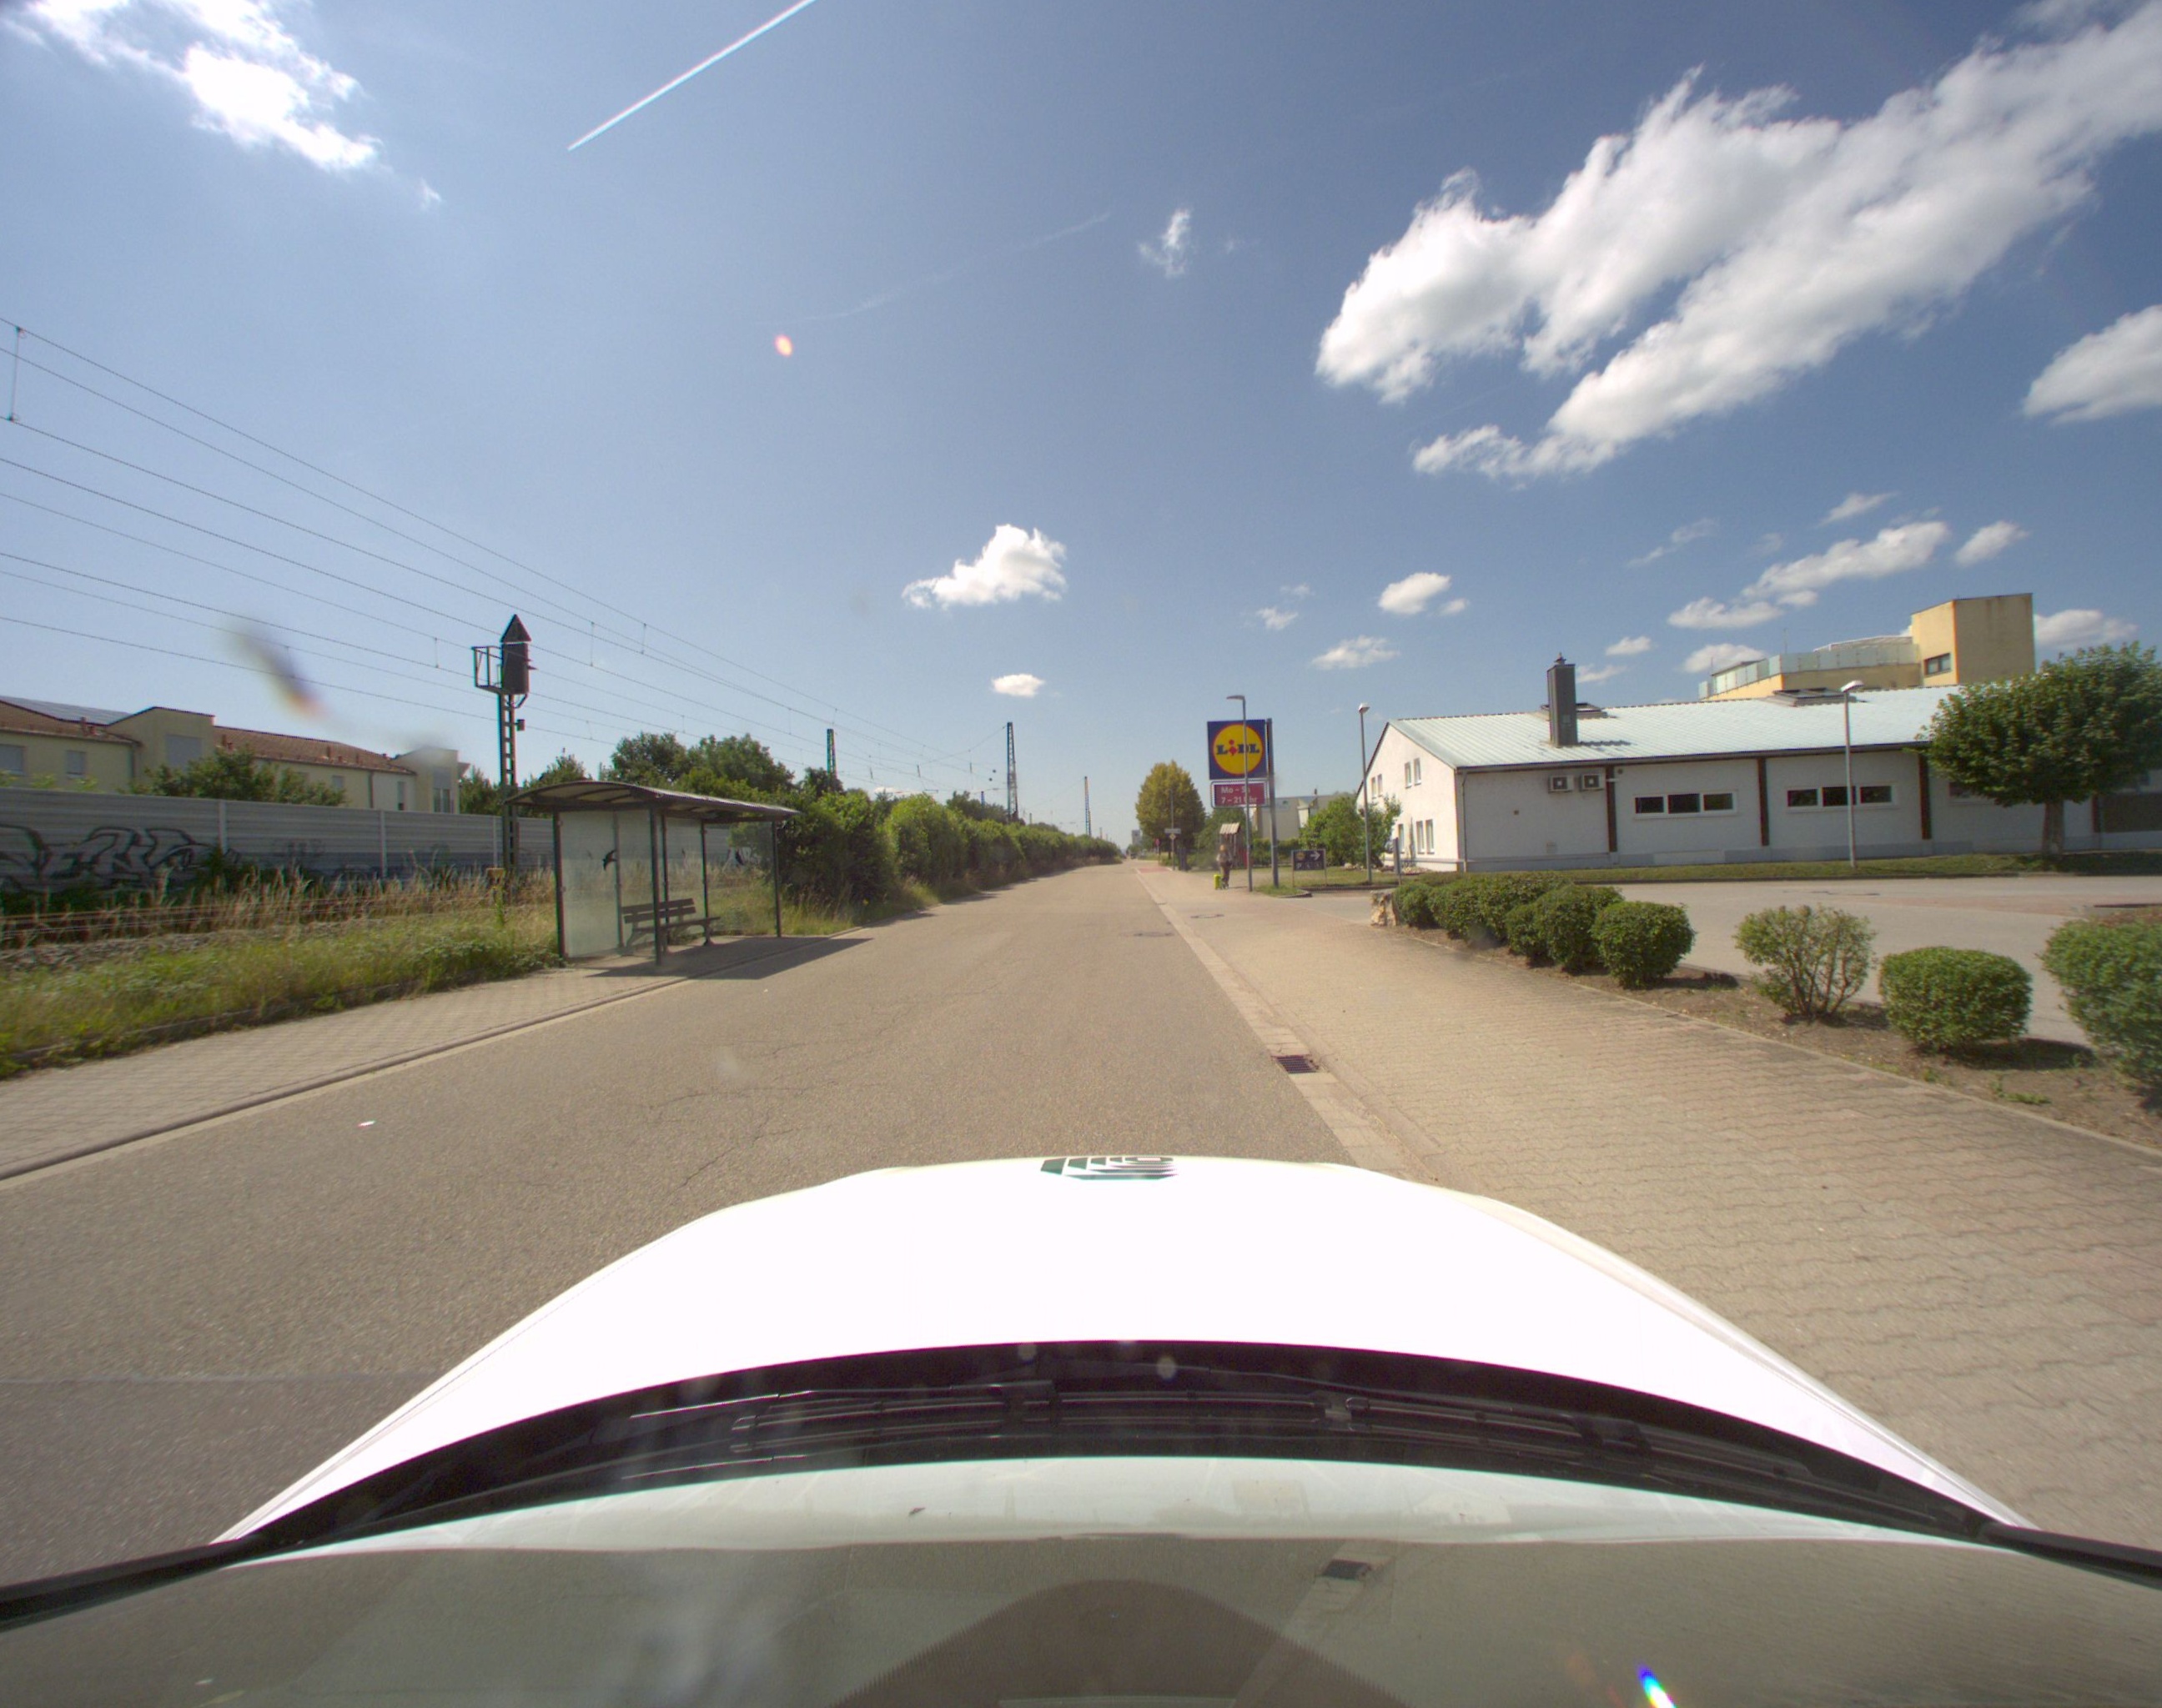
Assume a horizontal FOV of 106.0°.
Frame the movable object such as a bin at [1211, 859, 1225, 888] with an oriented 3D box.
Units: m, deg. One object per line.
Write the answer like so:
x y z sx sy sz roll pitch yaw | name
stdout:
5.005 0.722 29.717 0.373 1.029 0.498 -3 0 -2 | movable object such as a bin

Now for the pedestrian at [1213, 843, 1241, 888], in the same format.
5.409 0.411 30.207 0.759 1.602 1.210 -2 0 0 | pedestrian
